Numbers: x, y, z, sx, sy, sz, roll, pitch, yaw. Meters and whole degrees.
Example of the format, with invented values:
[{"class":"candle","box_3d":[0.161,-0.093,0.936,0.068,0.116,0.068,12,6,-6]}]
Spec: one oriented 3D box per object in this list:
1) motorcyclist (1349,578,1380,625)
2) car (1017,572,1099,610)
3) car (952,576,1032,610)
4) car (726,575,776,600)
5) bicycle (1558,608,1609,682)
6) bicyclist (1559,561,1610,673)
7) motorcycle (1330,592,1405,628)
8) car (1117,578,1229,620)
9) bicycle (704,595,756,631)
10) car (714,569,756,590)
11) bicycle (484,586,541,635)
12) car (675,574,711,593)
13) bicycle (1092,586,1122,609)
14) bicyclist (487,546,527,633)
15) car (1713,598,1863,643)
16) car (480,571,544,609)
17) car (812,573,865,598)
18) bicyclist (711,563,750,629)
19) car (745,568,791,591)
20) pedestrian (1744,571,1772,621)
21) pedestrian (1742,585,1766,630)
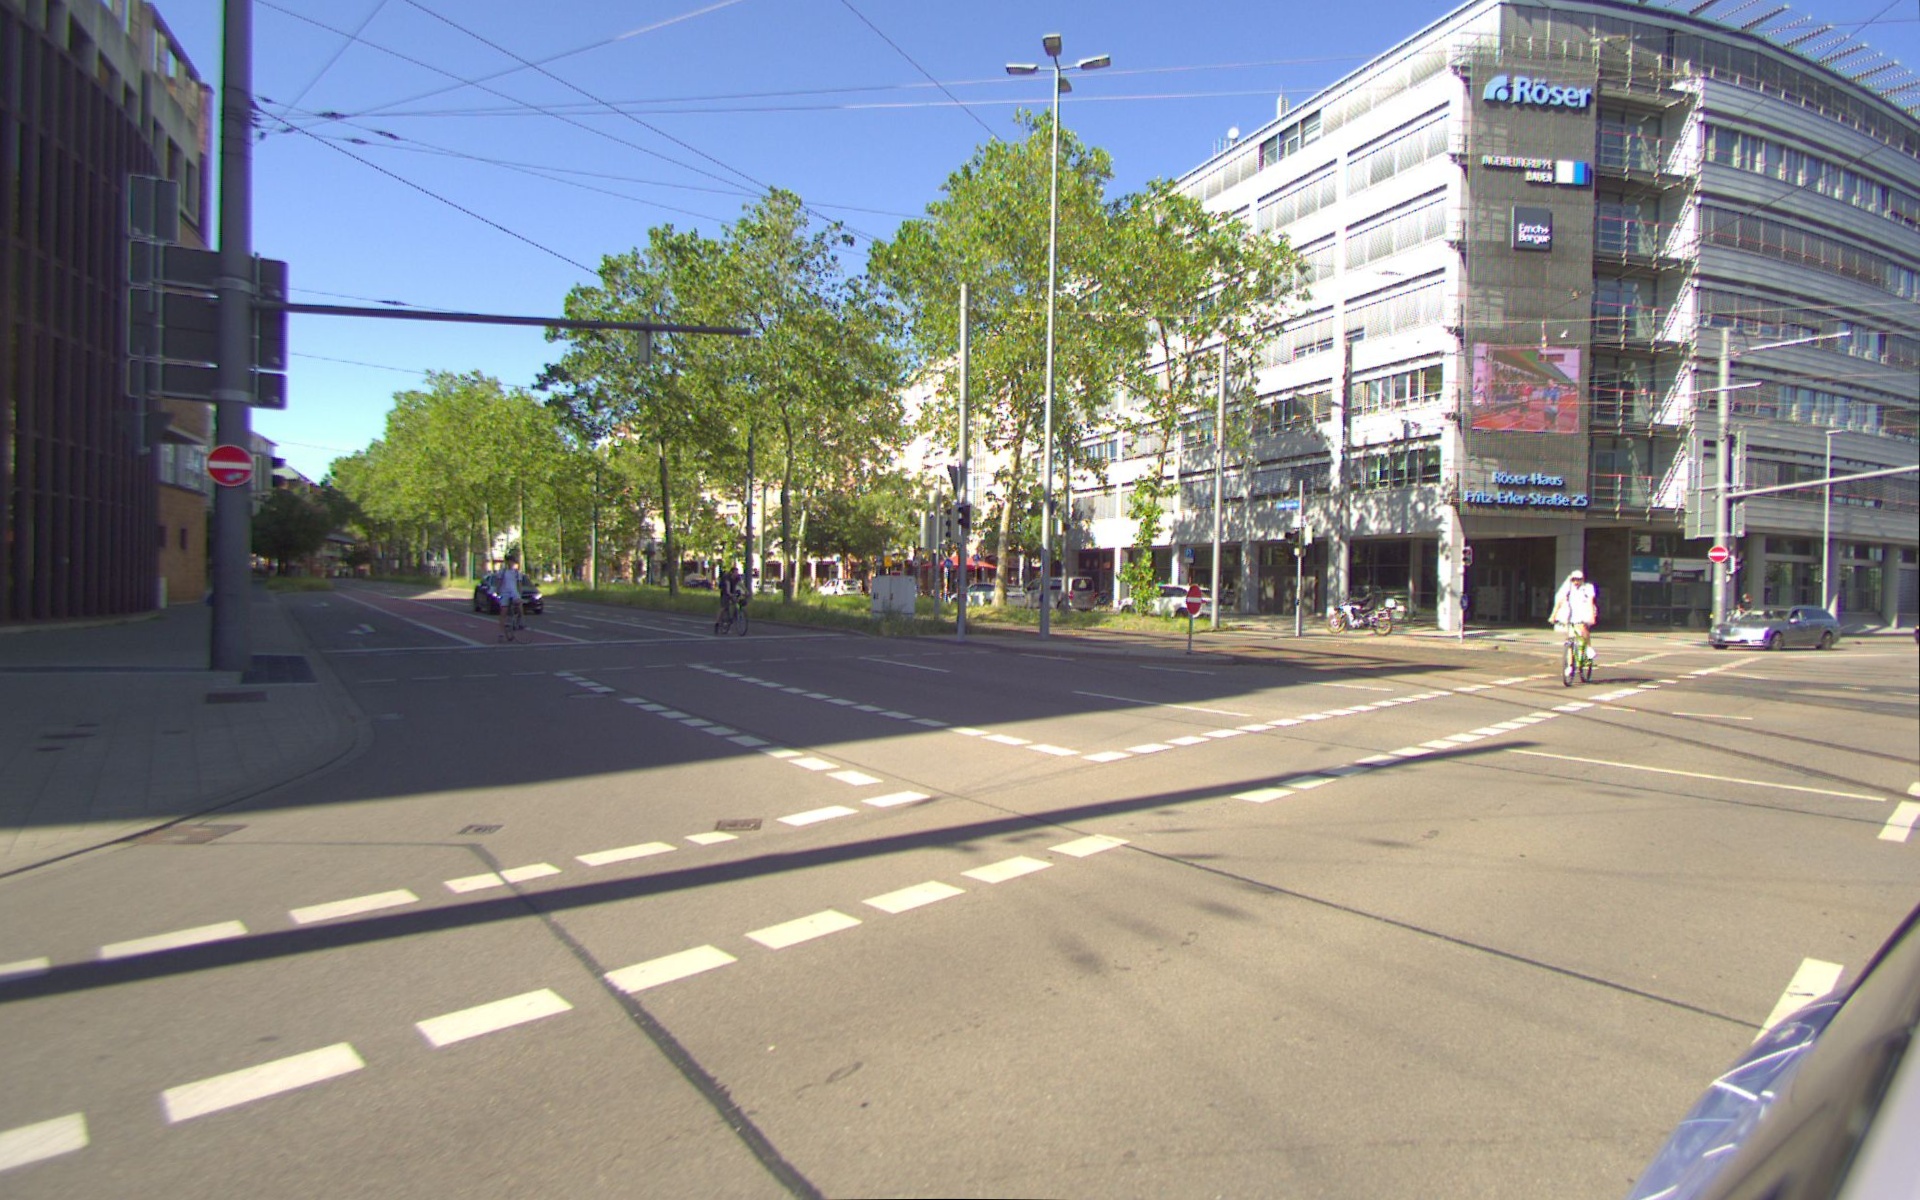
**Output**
[{"class":"motorcyclist","box_3d":[14.042,0.052,35.154,0.933,1.581,0.823,0,-1,28]},{"class":"car","box_3d":[5.062,-0.507,52.765,1.786,1.875,4.391,0,1,-35]},{"class":"car","box_3d":[1.499,-0.321,49.171,1.874,1.561,4.140,2,-1,-32]},{"class":"car","box_3d":[-14.827,-0.882,71.661,1.877,1.604,3.996,3,-2,-39]},{"class":"bicycle","box_3d":[10.362,0.714,16.785,0.647,1.124,1.737,2,1,33]},{"class":"bicyclist","box_3d":[10.314,0.266,16.707,0.647,1.774,1.033,2,0,33]},{"class":"motorcycle","box_3d":[14.144,0.340,35.163,2.368,1.216,0.823,0,0,29]},{"class":"car","box_3d":[8.558,-0.032,40.907,1.880,1.604,4.128,2,-2,-43]},{"class":"bicycle","box_3d":[-5.840,0.317,25.655,0.661,0.816,1.674,1,1,-36]},{"class":"car","box_3d":[-19.228,-1.750,86.441,1.877,1.604,3.996,3,-2,-39]},{"class":"bicycle","box_3d":[-9.884,0.217,22.339,0.662,1.007,1.671,0,1,-42]},{"class":"car","box_3d":[-25.838,-1.589,97.900,1.877,1.604,3.996,3,-2,-39]},{"class":"bicycle","box_3d":[8.073,-0.144,55.401,1.696,1.235,0.469,1,1,-31]},{"class":"bicyclist","box_3d":[-10.113,-0.244,22.589,0.640,1.907,0.606,1,1,-43]},{"class":"car","box_3d":[27.515,0.683,33.624,4.687,1.413,1.731,1,0,-21]},{"class":"car","box_3d":[-16.405,-0.379,36.972,1.703,1.282,4.005,1,1,-30]},{"class":"car","box_3d":[-8.745,-1.025,72.635,1.877,1.604,3.996,3,-2,-39]},{"class":"bicyclist","box_3d":[-5.832,-0.111,25.675,0.659,1.650,0.865,1,1,-36]},{"class":"car","box_3d":[-15.416,-1.624,81.177,1.877,1.604,3.996,3,-2,-39]},{"class":"pedestrian","box_3d":[29.784,-0.166,37.780,0.603,1.820,0.634,3,1,28]},{"class":"pedestrian","box_3d":[30.011,0.268,38.264,0.557,1.666,0.424,3,1,28]}]
